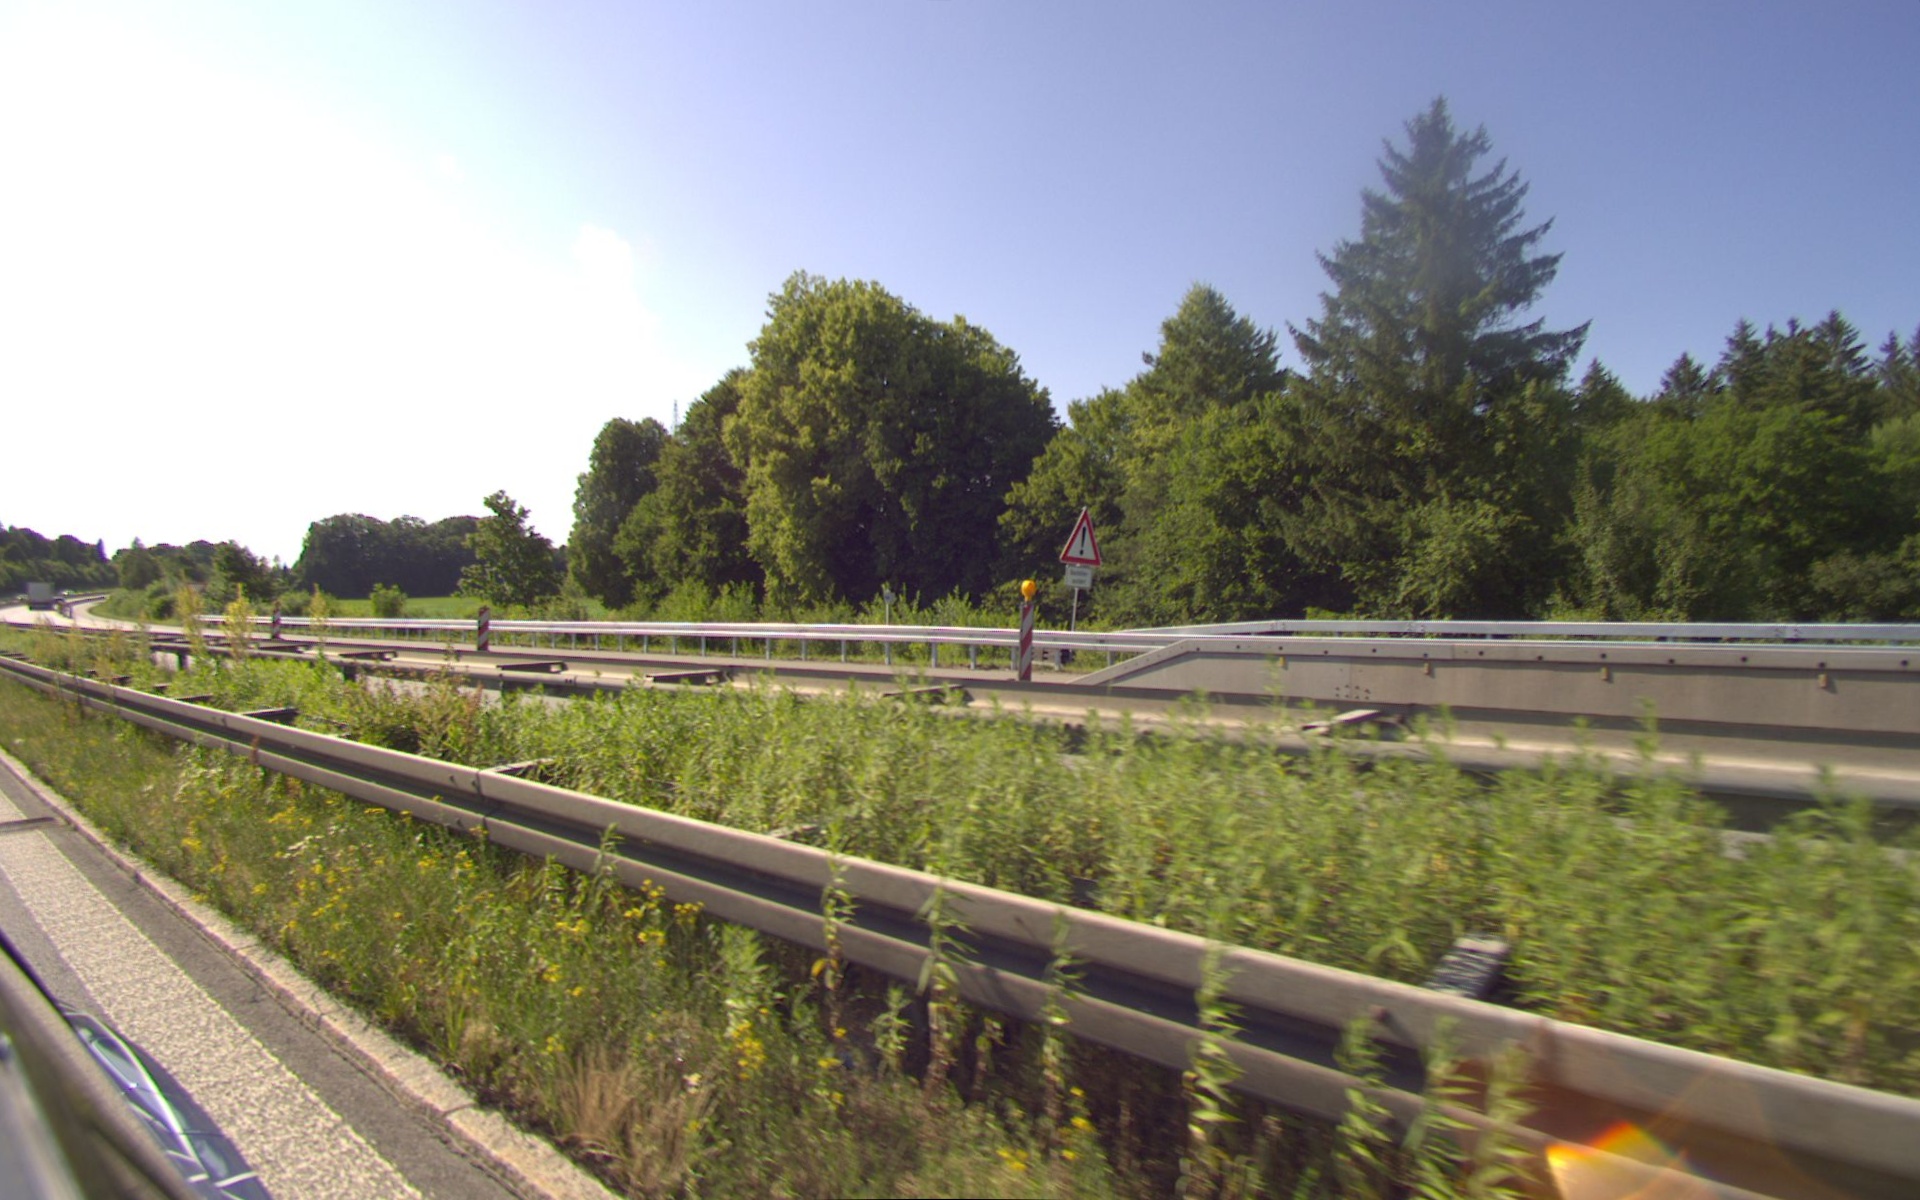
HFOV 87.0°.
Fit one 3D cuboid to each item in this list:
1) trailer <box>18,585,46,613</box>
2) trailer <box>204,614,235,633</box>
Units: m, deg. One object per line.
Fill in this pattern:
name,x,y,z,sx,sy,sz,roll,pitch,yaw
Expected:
trailer,-136.524,-0.080,148.827,2.648,3.984,13.779,0,-1,-44
trailer,-46.873,1.463,64.040,3.424,1.060,0.982,-1,3,44
